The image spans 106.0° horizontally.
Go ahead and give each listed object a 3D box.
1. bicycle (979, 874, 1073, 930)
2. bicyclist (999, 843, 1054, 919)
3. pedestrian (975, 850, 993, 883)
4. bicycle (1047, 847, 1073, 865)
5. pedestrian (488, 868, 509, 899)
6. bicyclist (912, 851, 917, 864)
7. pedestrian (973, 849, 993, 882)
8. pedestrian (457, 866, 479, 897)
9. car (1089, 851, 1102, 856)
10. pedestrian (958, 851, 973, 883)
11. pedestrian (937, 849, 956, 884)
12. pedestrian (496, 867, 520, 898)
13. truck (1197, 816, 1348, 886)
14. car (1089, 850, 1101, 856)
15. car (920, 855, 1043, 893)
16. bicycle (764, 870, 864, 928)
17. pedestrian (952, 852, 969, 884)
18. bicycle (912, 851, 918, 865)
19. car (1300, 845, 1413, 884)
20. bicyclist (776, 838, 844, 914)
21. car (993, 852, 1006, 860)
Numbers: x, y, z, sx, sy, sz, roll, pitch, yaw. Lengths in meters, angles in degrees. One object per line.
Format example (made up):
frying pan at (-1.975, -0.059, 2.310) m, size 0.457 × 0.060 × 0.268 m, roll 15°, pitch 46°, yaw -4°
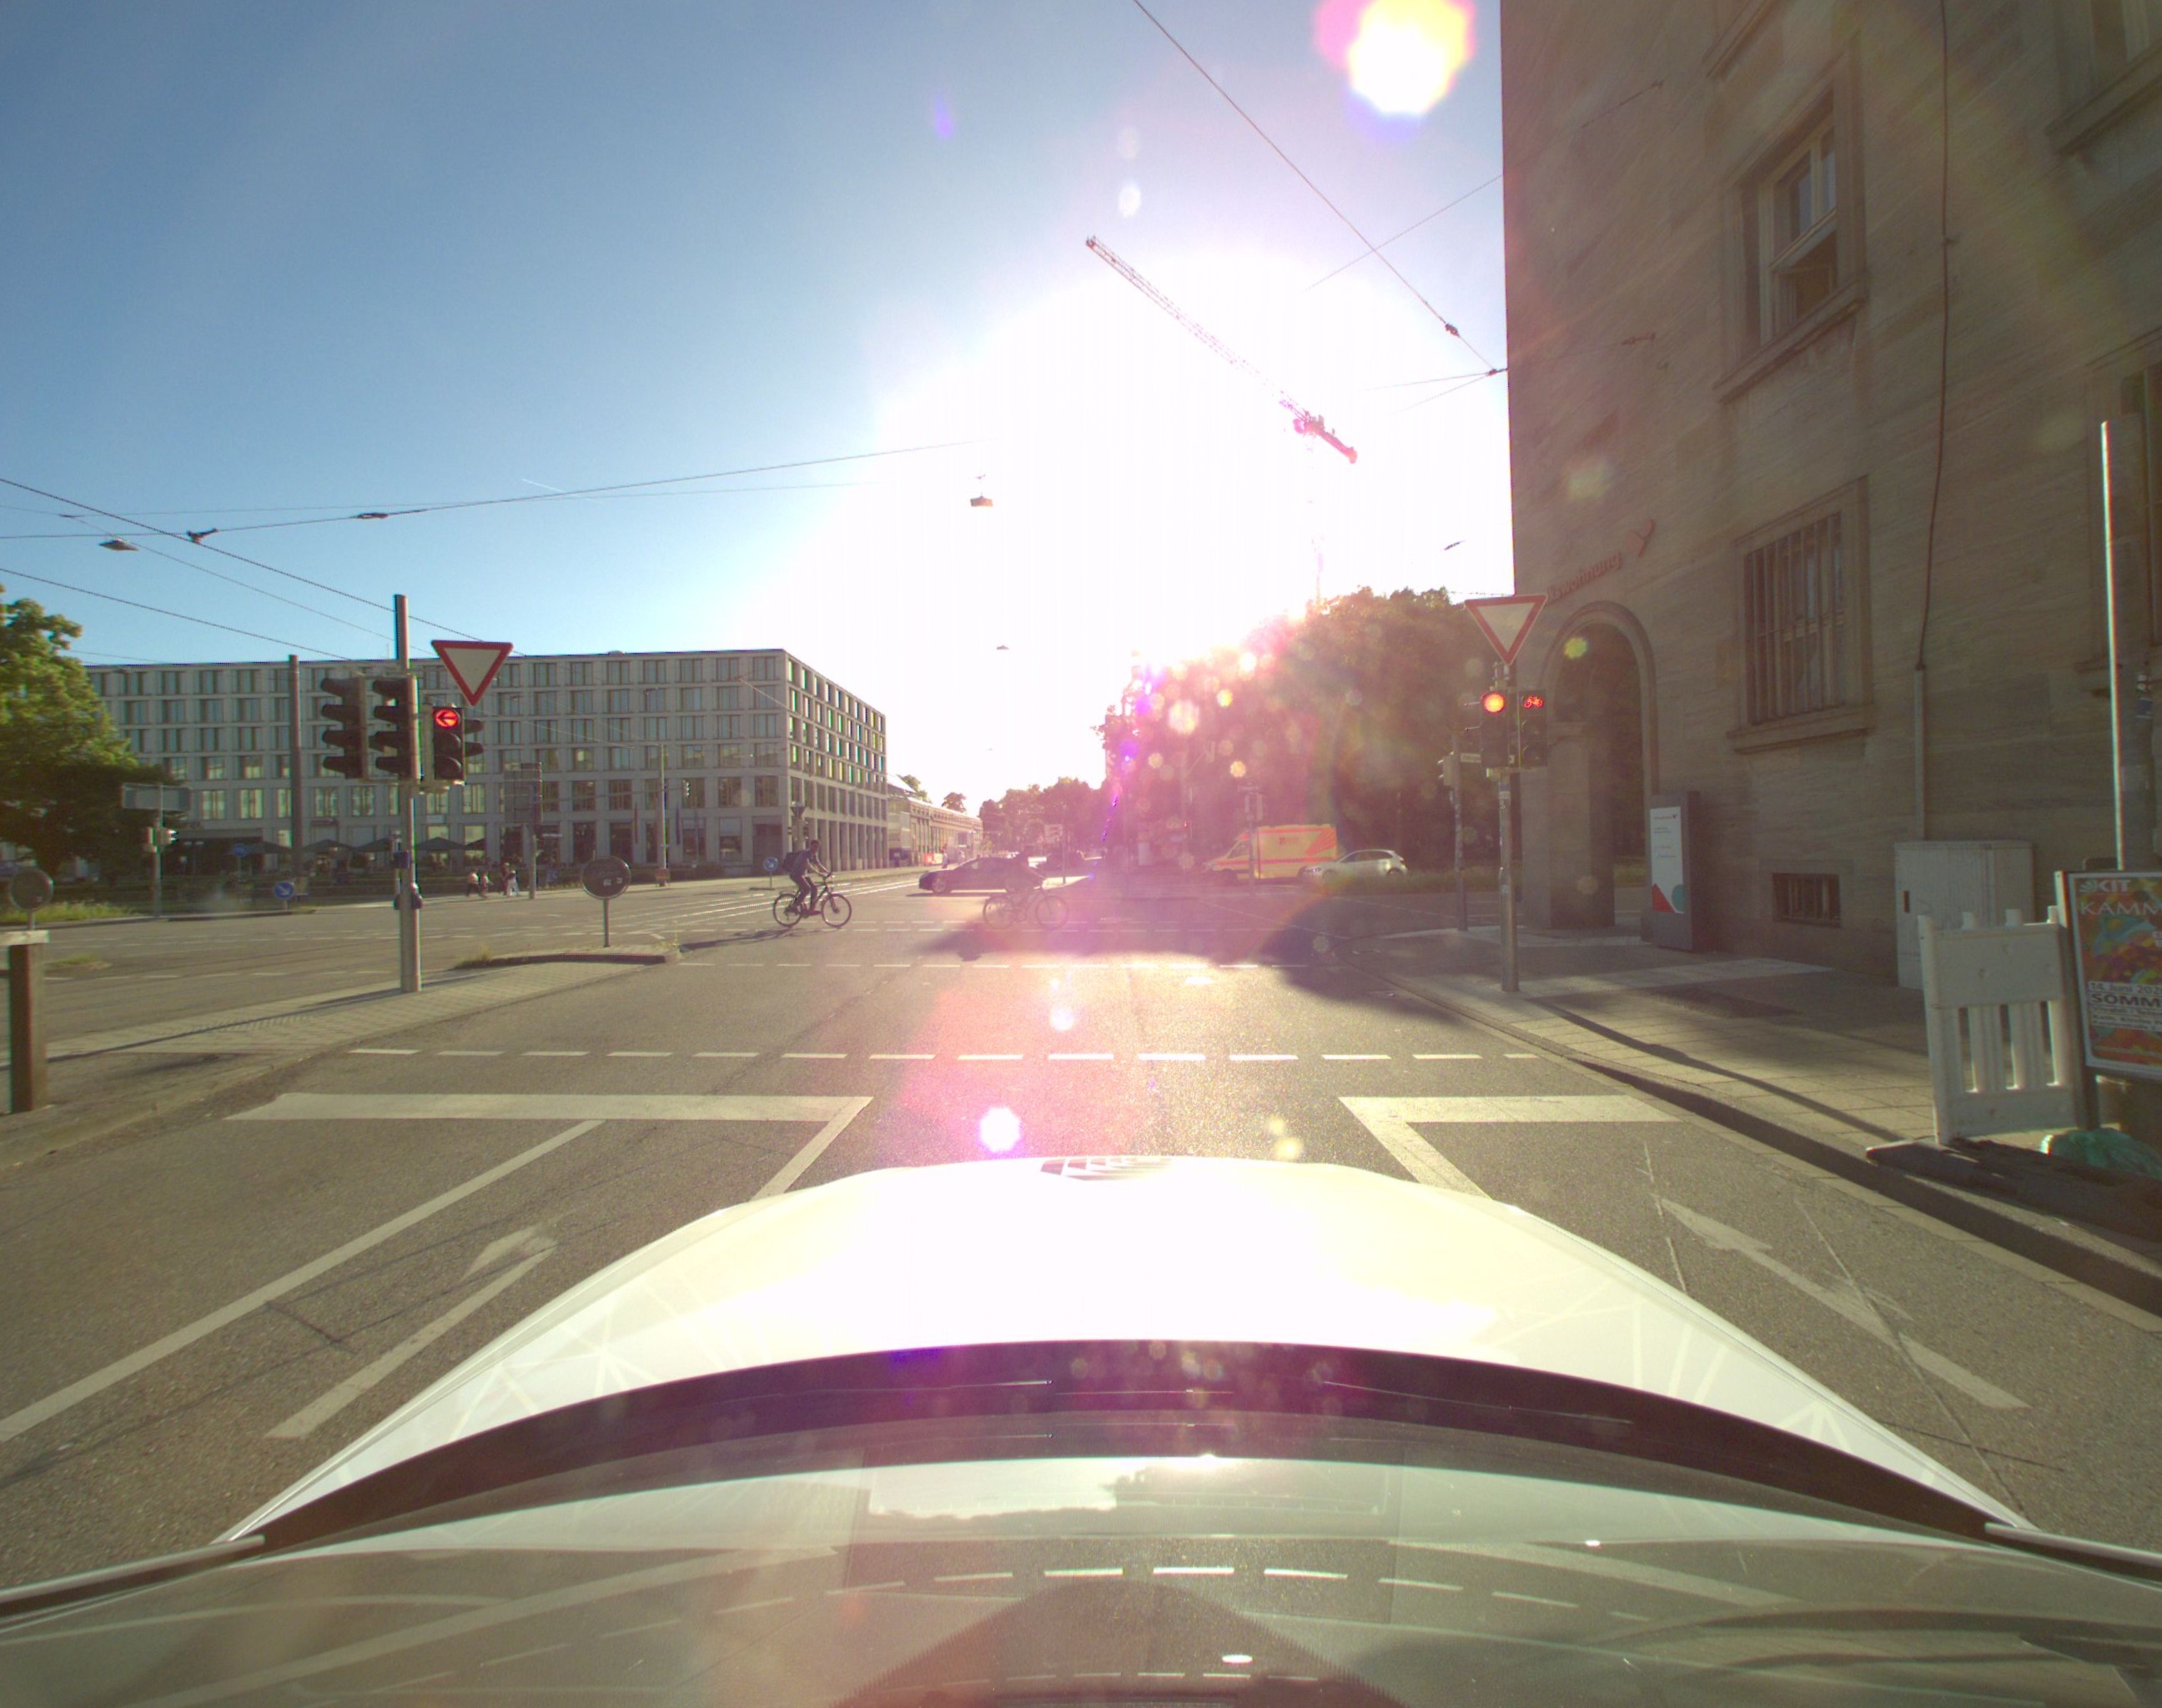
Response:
bicycle at (-1.119, 0.976, 16.835) m, size 1.804 × 1.085 × 0.768 m, roll 0°, pitch 2°, yaw 5°
bicyclist at (-1.116, 0.545, 16.824) m, size 0.997 × 1.512 × 0.768 m, roll 0°, pitch 2°, yaw 5°
pedestrian at (-5.464, 0.709, 45.969) m, size 0.865 × 1.803 × 0.533 m, roll -2°, pitch 0°, yaw 7°
bicycle at (-2.107, 0.234, 81.713) m, size 2.538 × 1.743 × 1.038 m, roll 0°, pitch -1°, yaw 1°
pedestrian at (-32.614, 1.648, 45.589) m, size 0.692 × 1.644 × 0.621 m, roll -2°, pitch 0°, yaw -3°
bicyclist at (-26.864, 0.544, 131.576) m, size 0.569 × 2.024 × 0.762 m, roll -2°, pitch 0°, yaw 0°
pedestrian at (-5.448, 0.653, 45.302) m, size 0.865 × 1.803 × 0.665 m, roll -2°, pitch 0°, yaw 7°
pedestrian at (-33.472, 1.516, 44.499) m, size 0.690 × 1.644 × 0.623 m, roll -2°, pitch 0°, yaw 9°
car at (3.758, -0.093, 211.347) m, size 3.210 × 1.263 × 1.371 m, roll 0°, pitch -1°, yaw -4°
pedestrian at (-6.606, 0.752, 46.577) m, size 0.735 × 1.803 × 0.533 m, roll -2°, pitch 0°, yaw 7°
pedestrian at (-7.332, 0.681, 44.459) m, size 0.797 × 1.918 × 0.638 m, roll -2°, pitch 0°, yaw 7°
pedestrian at (-31.409, 1.578, 44.651) m, size 0.790 × 1.644 × 0.621 m, roll -2°, pitch 0°, yaw -3°
truck at (8.894, -0.150, 38.322) m, size 6.444 × 3.016 × 2.726 m, roll -1°, pitch 0°, yaw 1°
car at (3.654, -0.187, 213.647) m, size 3.207 × 1.588 × 1.445 m, roll 0°, pitch -1°, yaw -3°
car at (-3.962, 0.807, 33.085) m, size 4.721 × 1.415 × 1.999 m, roll -1°, pitch -2°, yaw -1°
bicycle at (-5.723, 0.952, 17.512) m, size 1.863 × 1.158 × 0.768 m, roll -1°, pitch 0°, yaw 6°
pedestrian at (-6.744, 0.776, 45.525) m, size 0.735 × 1.803 × 0.717 m, roll -2°, pitch 0°, yaw 7°
bicycle at (-26.861, 0.639, 131.573) m, size 0.569 × 2.296 × 1.422 m, roll -2°, pitch 0°, yaw 0°
car at (11.111, 0.413, 32.990) m, size 4.030 × 1.434 × 1.631 m, roll -2°, pitch 0°, yaw -1°
bicyclist at (-5.813, 0.461, 17.526) m, size 1.118 × 1.594 × 0.768 m, roll -1°, pitch 0°, yaw 7°
car at (-15.675, 0.402, 157.060) m, size 1.888 × 1.607 × 4.499 m, roll -2°, pitch 0°, yaw 0°
